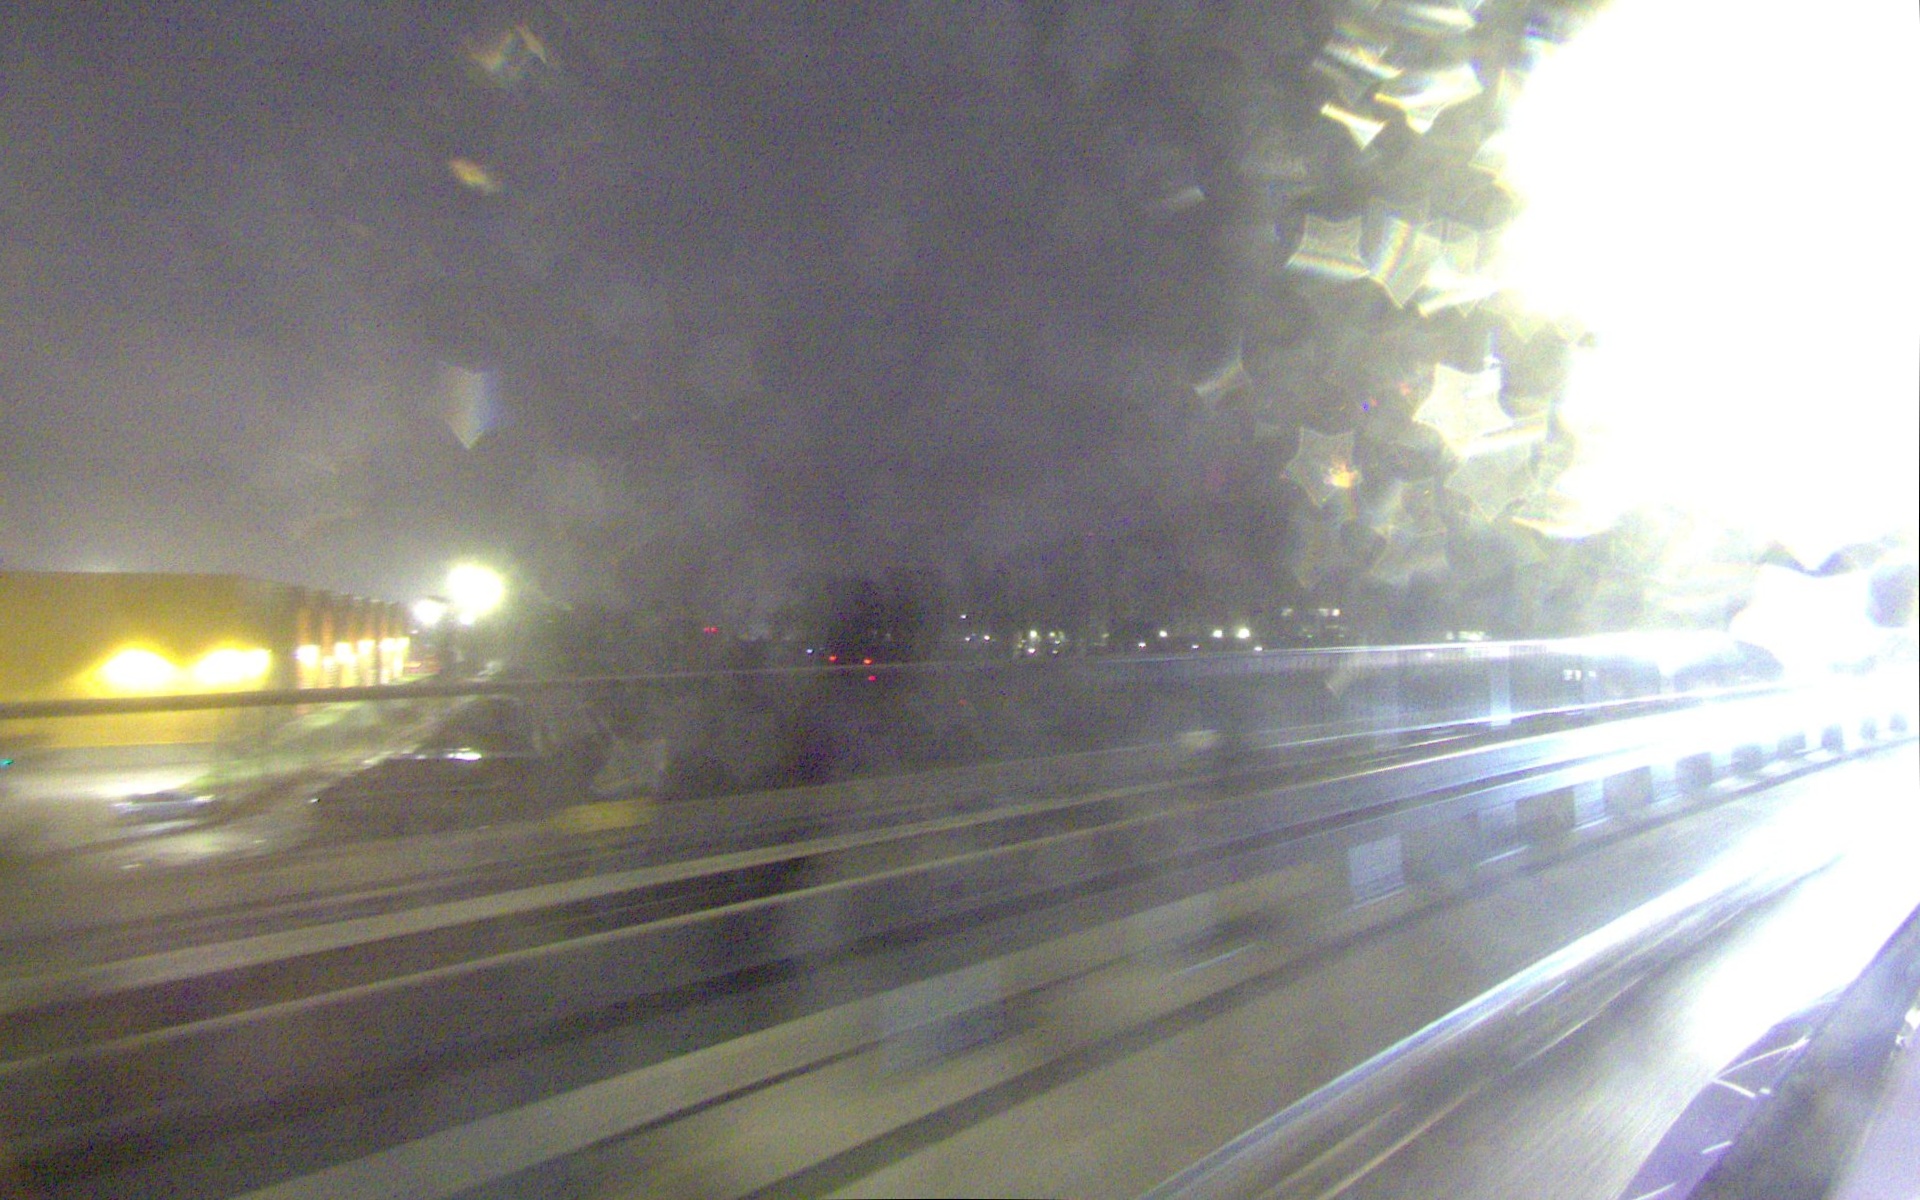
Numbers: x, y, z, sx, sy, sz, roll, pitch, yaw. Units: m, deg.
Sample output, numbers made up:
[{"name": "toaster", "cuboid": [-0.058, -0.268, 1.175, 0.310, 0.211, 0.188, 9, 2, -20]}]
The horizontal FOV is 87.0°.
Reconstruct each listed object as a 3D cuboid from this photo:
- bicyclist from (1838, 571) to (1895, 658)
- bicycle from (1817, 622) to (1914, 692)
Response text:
[{"name": "bicyclist", "cuboid": [14.726, 0.233, 16.443, 0.749, 1.366, 0.454, 1, -1, -29]}, {"name": "bicycle", "cuboid": [14.746, 0.896, 16.460, 2.128, 1.047, 0.486, 0, 0, -28]}]
